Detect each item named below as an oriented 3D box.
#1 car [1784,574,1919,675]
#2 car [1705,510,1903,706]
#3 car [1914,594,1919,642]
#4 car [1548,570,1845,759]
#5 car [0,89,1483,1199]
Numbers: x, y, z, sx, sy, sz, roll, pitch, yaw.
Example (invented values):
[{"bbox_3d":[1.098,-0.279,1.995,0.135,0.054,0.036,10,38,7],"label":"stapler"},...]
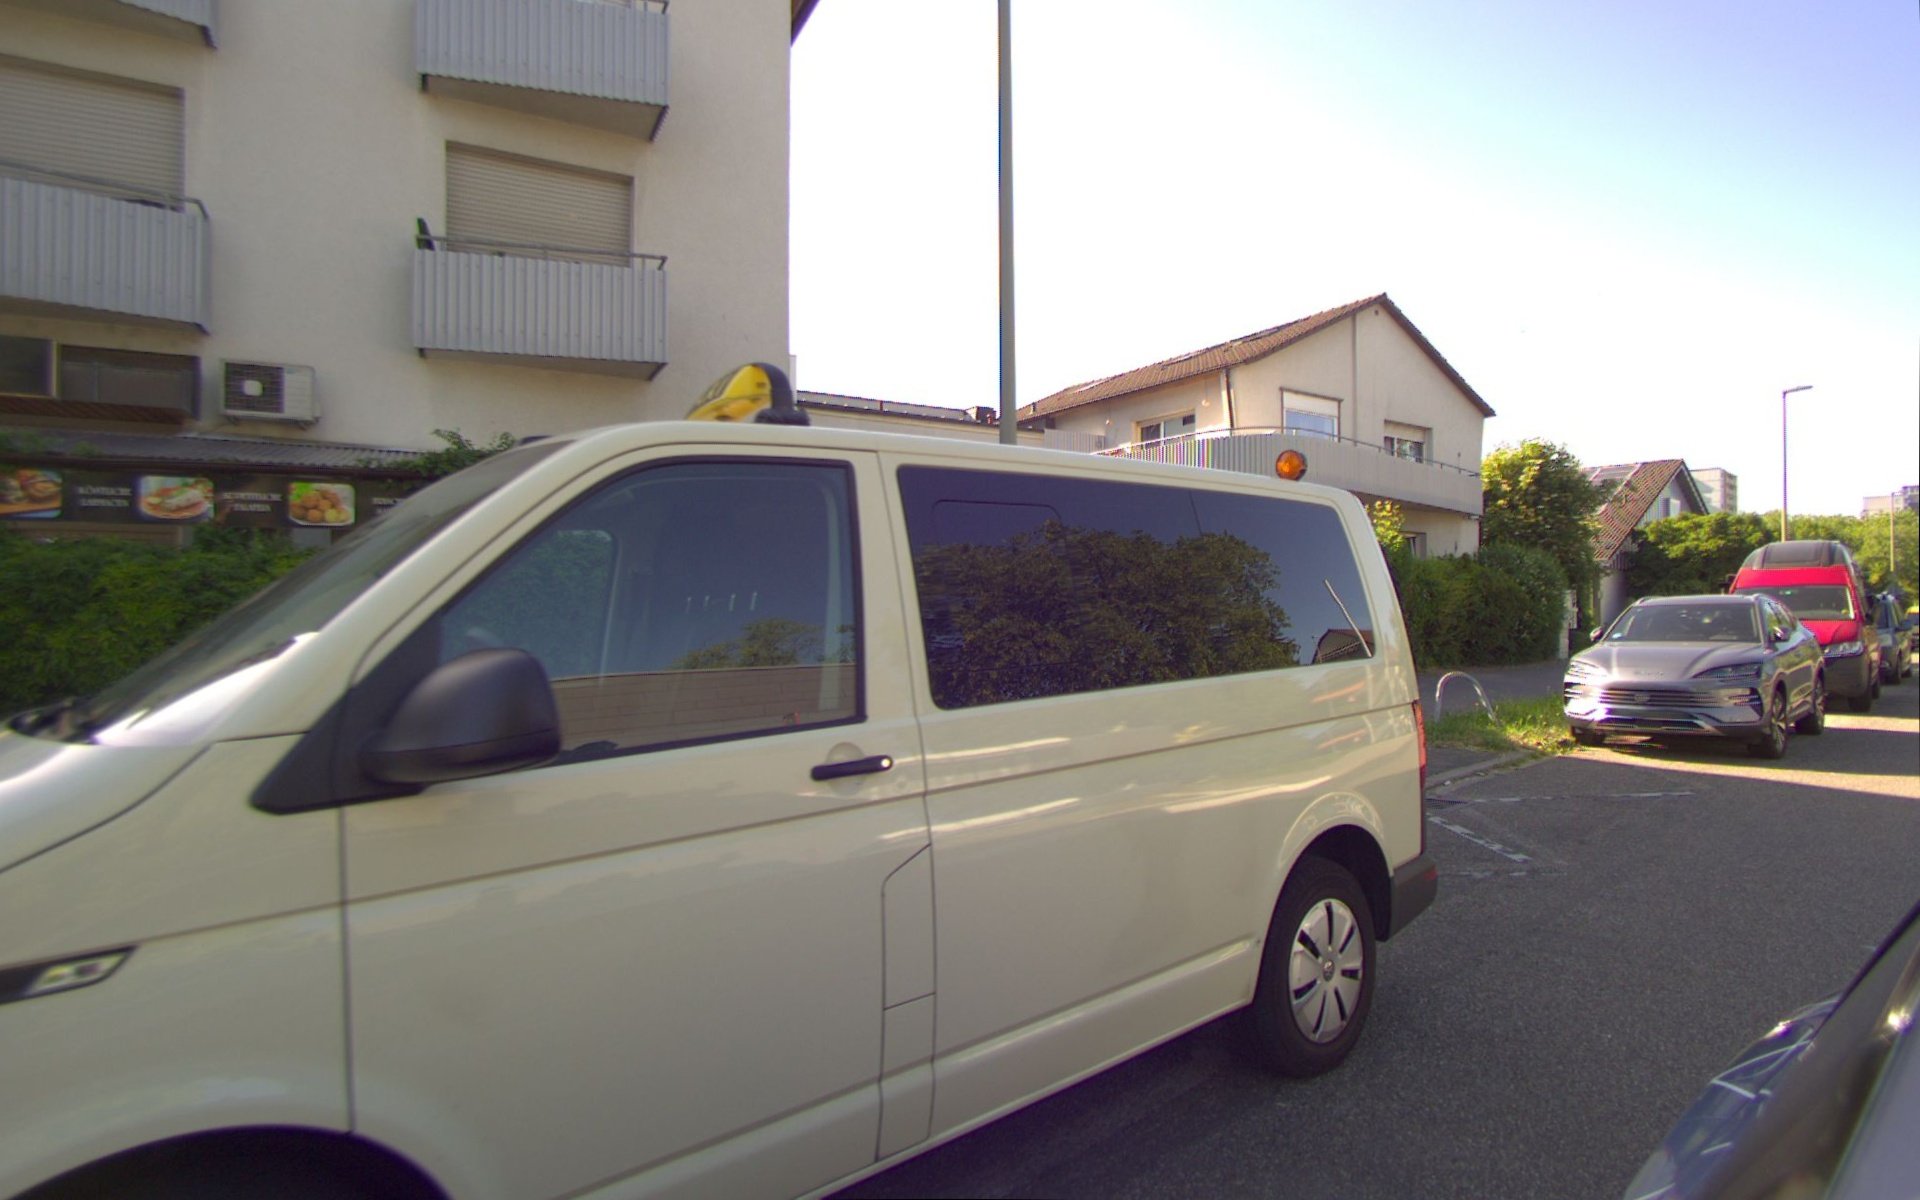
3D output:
[{"bbox_3d":[18.668,0.496,20.948,4.483,1.872,1.858,0,-3,-43],"label":"car"},{"bbox_3d":[13.710,0.128,16.313,1.957,2.678,5.138,-2,-2,45],"label":"car"},{"bbox_3d":[37.944,0.668,38.875,3.914,1.799,1.619,0,-1,-43],"label":"car"},{"bbox_3d":[8.643,0.615,11.716,4.500,1.760,1.958,0,-1,-43],"label":"car"},{"bbox_3d":[-0.509,0.422,3.060,4.495,2.105,1.998,-1,-2,-39],"label":"car"}]
